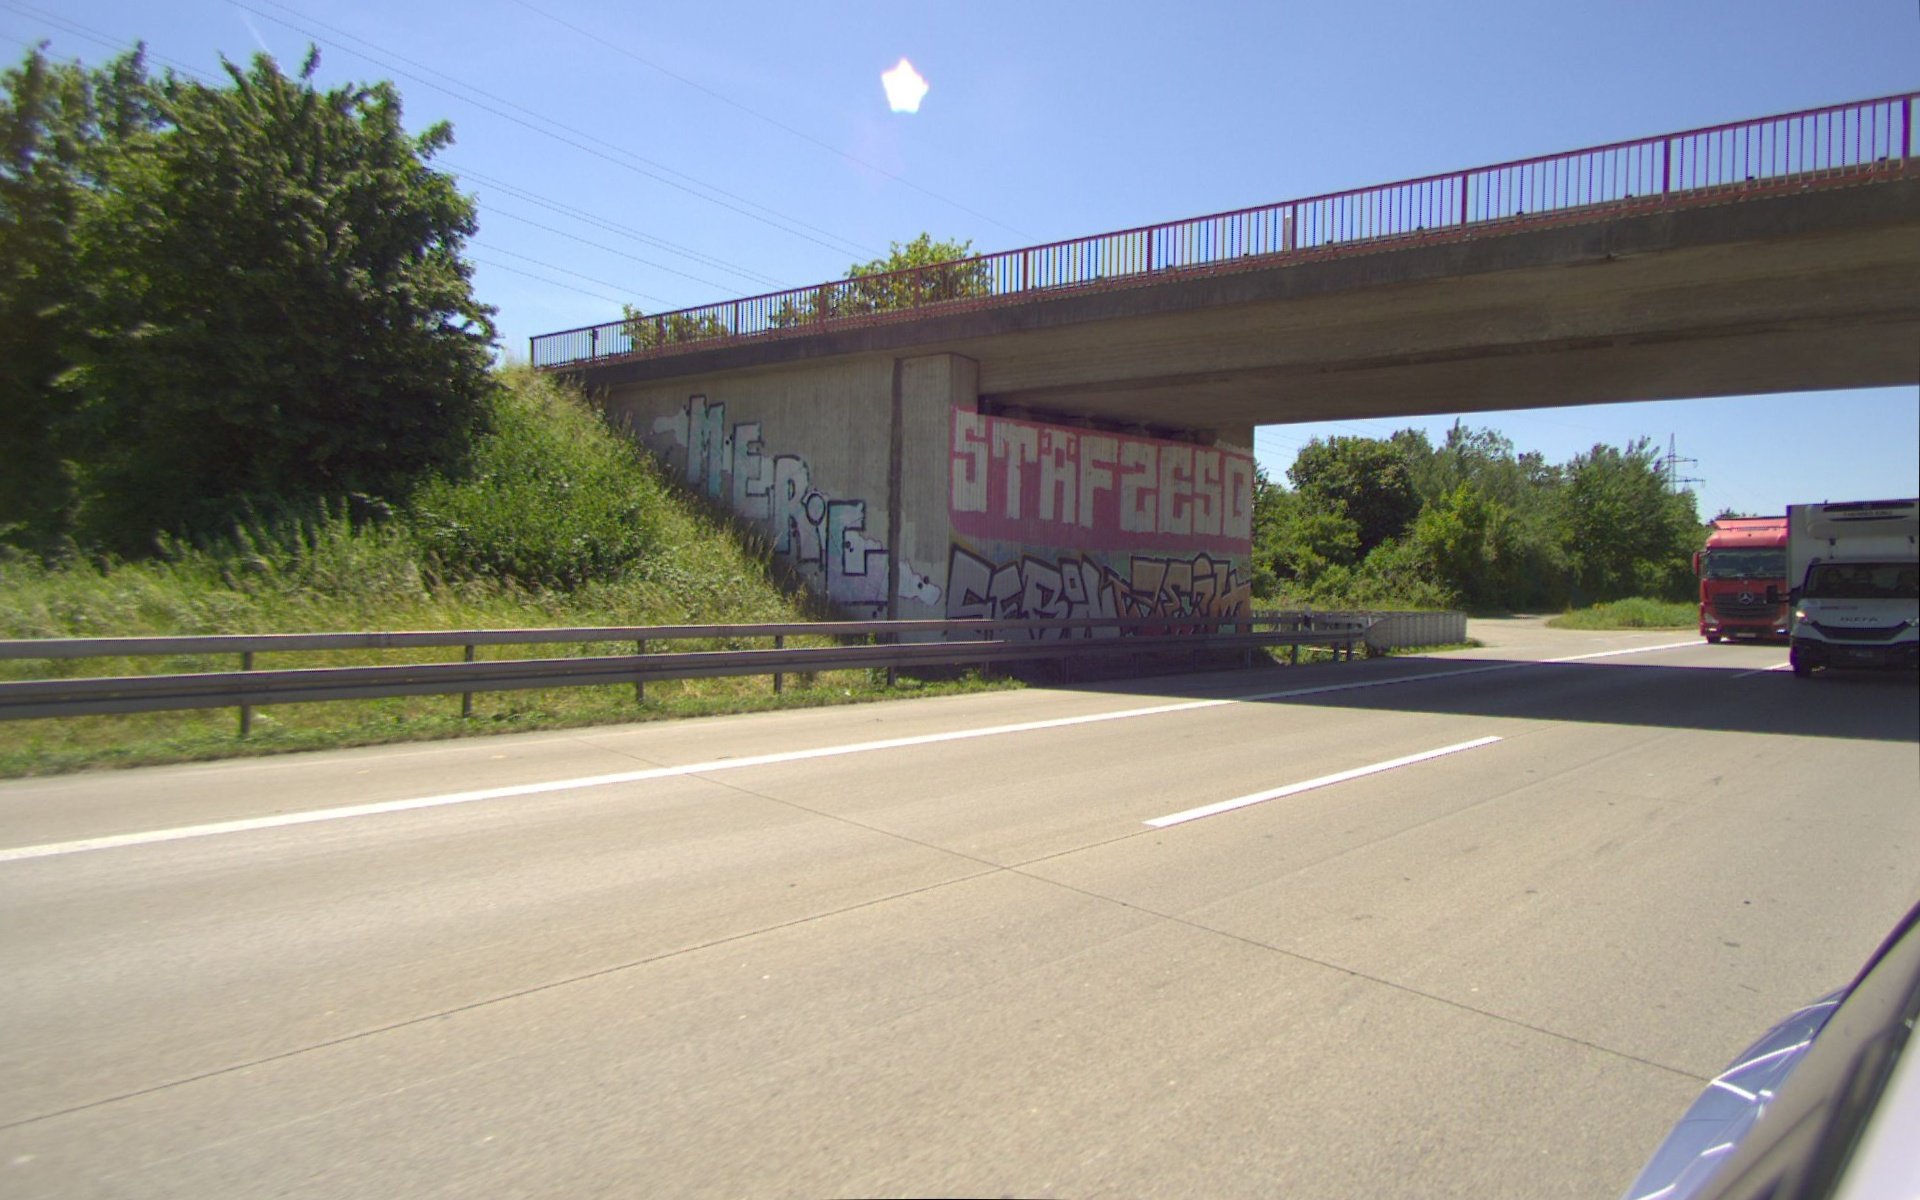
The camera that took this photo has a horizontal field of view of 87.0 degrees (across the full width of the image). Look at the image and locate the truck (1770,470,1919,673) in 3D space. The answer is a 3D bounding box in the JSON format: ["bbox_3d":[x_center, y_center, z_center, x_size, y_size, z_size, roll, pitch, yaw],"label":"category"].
[{"bbox_3d":[18.496,-0.505,19.895,7.679,3.390,2.781,-1,0,-42],"label":"truck"}]

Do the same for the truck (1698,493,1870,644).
[{"bbox_3d":[27.983,-0.973,34.099,10.699,4.377,2.852,-1,0,-42],"label":"truck"}]
